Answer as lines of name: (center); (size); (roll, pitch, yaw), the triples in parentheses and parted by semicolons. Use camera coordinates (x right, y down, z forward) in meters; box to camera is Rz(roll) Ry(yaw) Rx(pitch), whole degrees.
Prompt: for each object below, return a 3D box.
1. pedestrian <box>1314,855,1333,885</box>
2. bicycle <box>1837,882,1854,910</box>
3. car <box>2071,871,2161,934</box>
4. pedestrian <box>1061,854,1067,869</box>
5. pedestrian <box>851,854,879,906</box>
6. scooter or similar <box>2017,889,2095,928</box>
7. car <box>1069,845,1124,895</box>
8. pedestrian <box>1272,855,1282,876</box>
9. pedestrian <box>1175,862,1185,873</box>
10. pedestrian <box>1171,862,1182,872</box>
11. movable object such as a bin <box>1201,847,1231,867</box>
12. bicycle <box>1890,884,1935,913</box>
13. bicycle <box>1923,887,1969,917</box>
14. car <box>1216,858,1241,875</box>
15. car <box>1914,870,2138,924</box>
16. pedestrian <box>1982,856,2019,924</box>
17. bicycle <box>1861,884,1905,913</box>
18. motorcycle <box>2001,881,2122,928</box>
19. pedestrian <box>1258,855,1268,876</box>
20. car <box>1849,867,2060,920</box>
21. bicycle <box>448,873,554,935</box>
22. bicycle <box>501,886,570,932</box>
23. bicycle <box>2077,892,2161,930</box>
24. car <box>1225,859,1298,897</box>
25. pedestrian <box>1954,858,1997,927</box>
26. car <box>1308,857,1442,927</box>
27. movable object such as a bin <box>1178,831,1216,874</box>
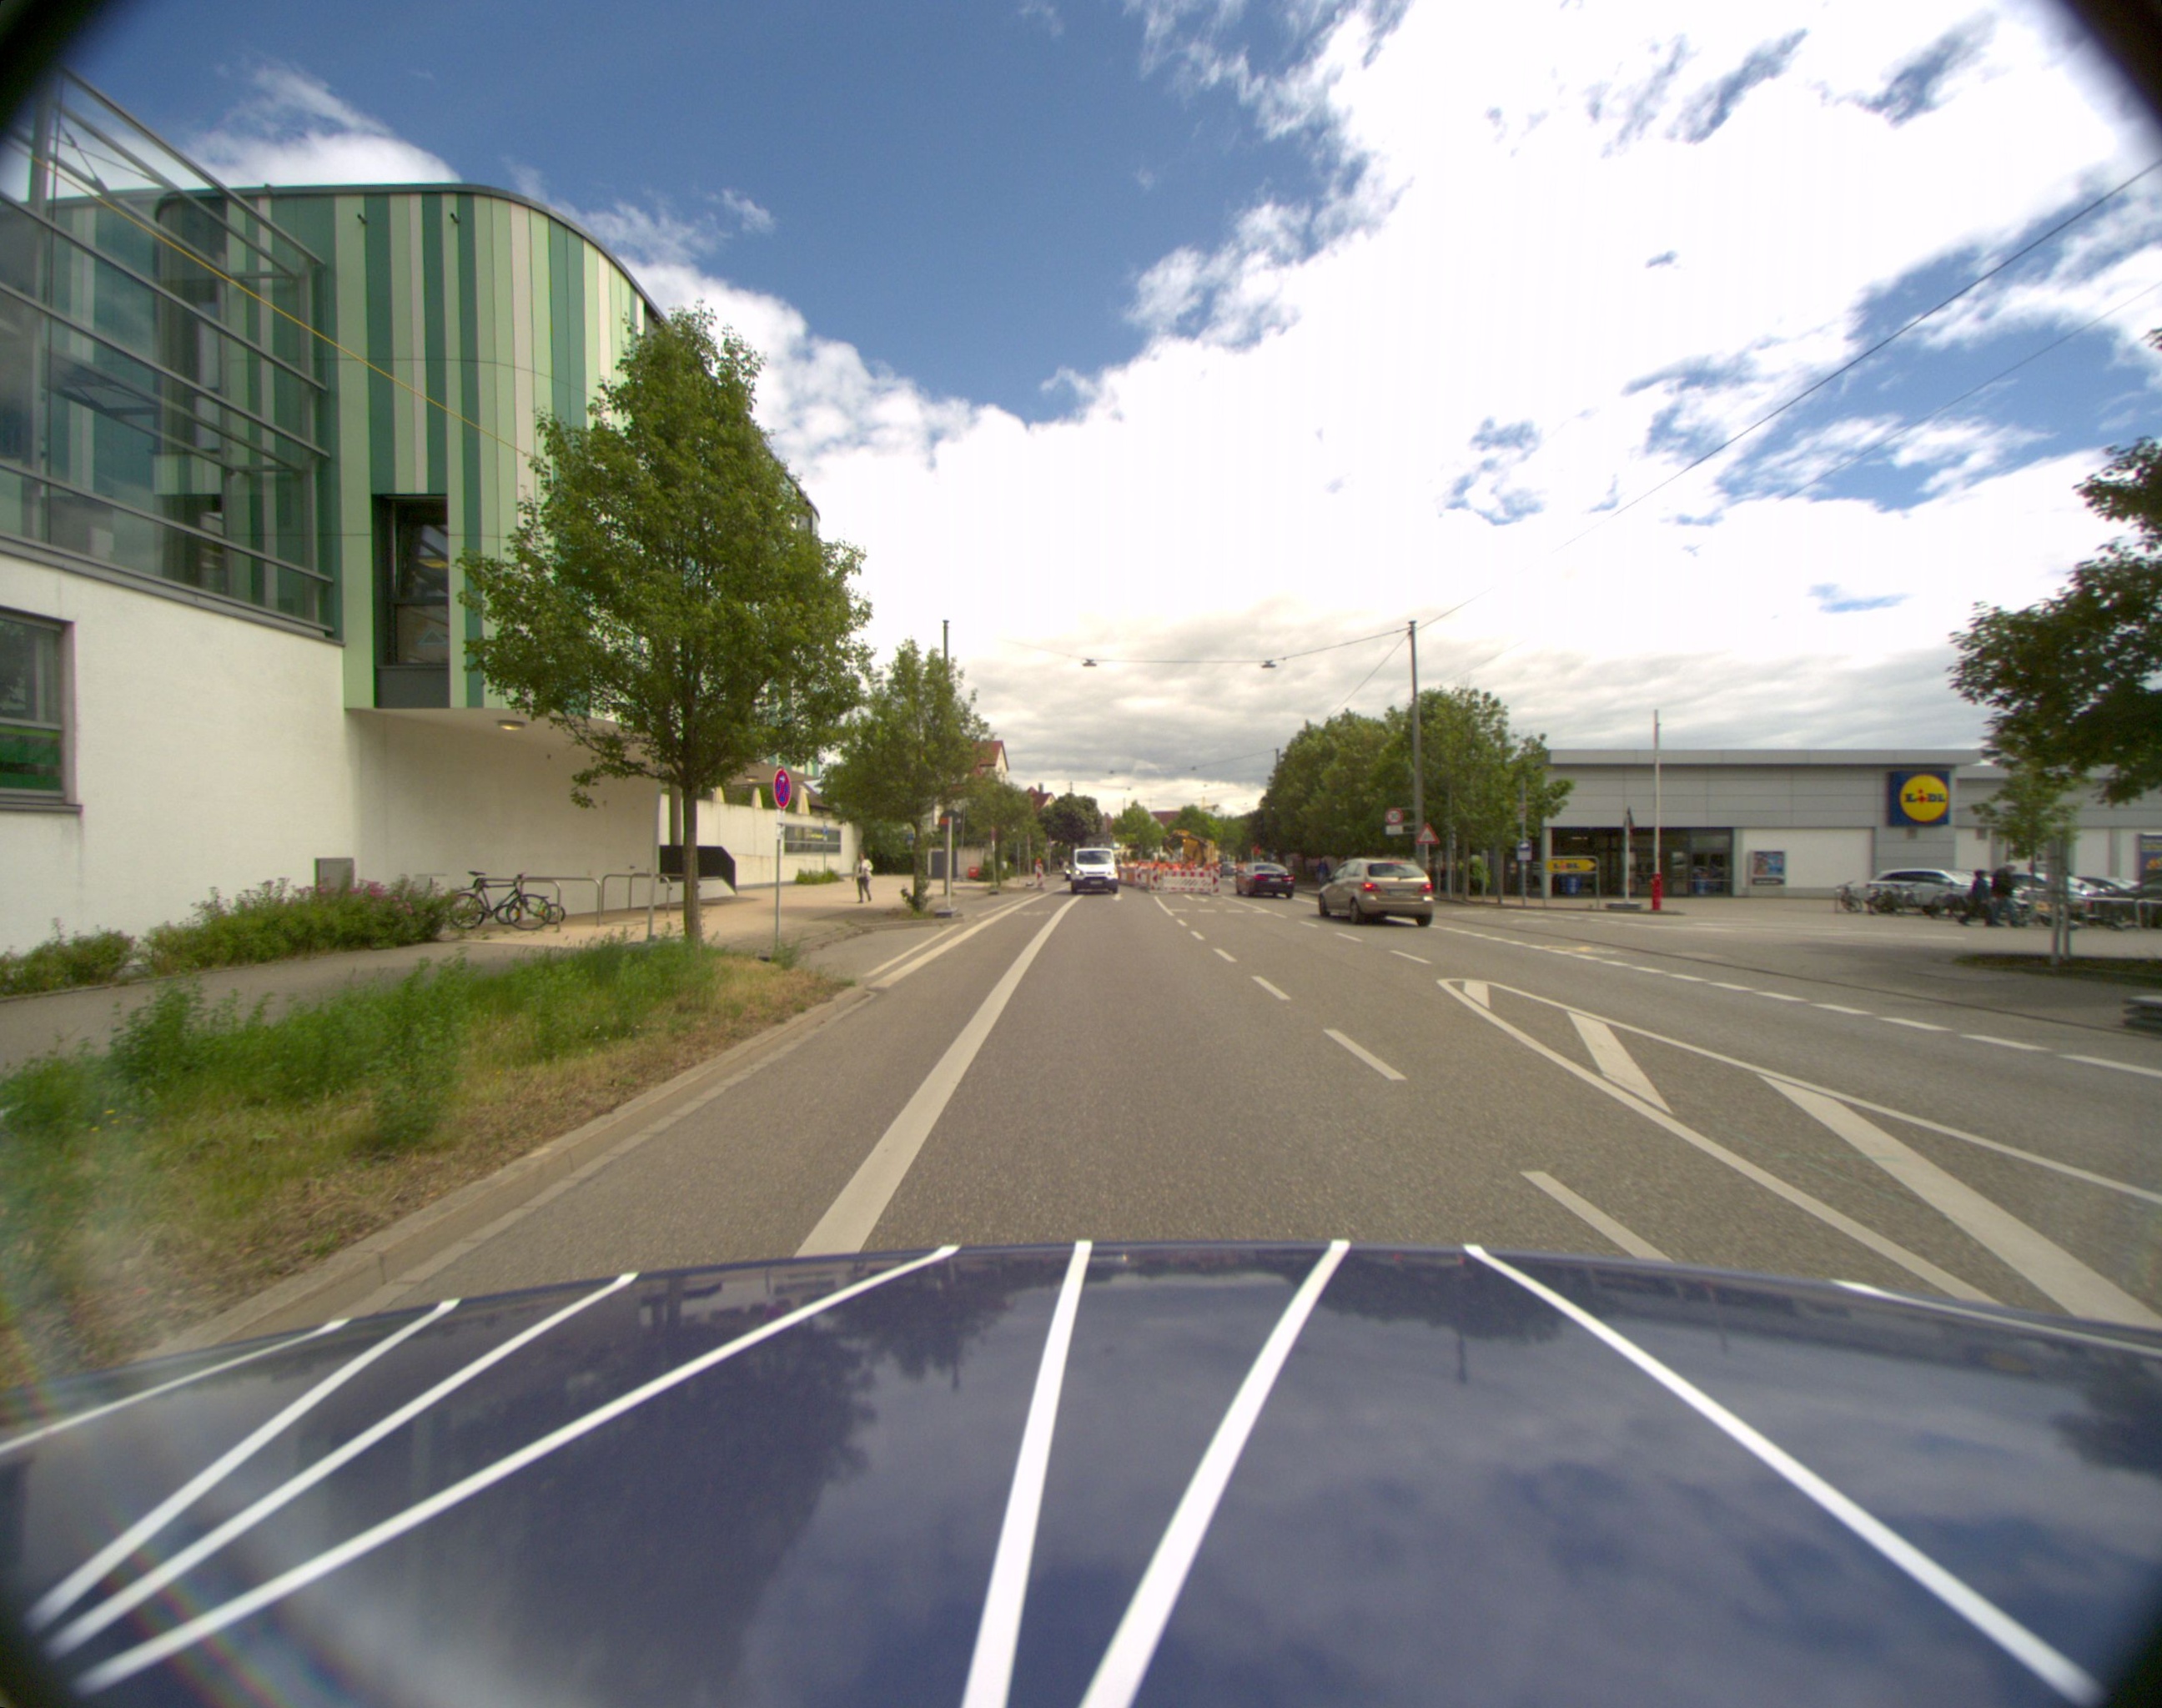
pedestrian: (12.935, 0.833, 40.535); (0.754, 1.593, 0.830); (1, 0, -1)
bicycle: (27.539, 1.500, 27.358); (1.889, 0.951, 0.348); (1, 0, -42)
car: (30.609, 1.363, 20.724); (1.998, 1.685, 4.000); (1, 0, 1)
pedestrian: (-1.744, 0.723, 78.434); (0.522, 1.531, 0.636); (1, 0, -5)
pedestrian: (-6.621, 0.777, 23.299); (0.582, 1.542, 0.869); (1, 1, 1)
scooter or similar: (25.844, 1.437, 20.148); (0.657, 0.938, 1.226); (1, 0, -36)
car: (0.581, 0.646, 33.303); (1.999, 2.002, 5.511); (-1, 0, -3)
pedestrian: (16.817, 0.987, 65.188); (0.625, 1.836, 0.624); (1, 1, 30)
pedestrian: (9.568, 1.296, 73.659); (0.641, 0.985, 0.795); (1, 0, 39)
pedestrian: (9.422, 1.283, 74.611); (0.791, 0.985, 0.813); (1, 0, 29)
movable object such as a bin: (18.771, 0.466, 105.097); (1.994, 2.610, 6.536); (1, 0, 30)
bicycle: (28.025, 1.481, 25.608); (1.887, 0.951, 0.348); (1, 0, -21)
bicycle: (28.191, 1.543, 24.749); (1.887, 0.951, 0.348); (1, 0, -21)
car: (13.845, 1.170, 71.581); (1.858, 1.504, 4.001); (1, 0, 5)
car: (32.726, 1.431, 26.582); (1.998, 1.563, 4.673); (1, 0, 0)
pedestrian: (25.408, 0.983, 20.992); (0.423, 1.848, 0.610); (1, 1, -38)
bicycle: (27.882, 1.536, 26.402); (1.887, 0.951, 0.348); (1, 0, -21)
motorcycle: (27.308, 1.383, 21.225); (0.864, 1.186, 1.950); (1, 0, -45)
pedestrian: (15.793, 0.990, 66.062); (0.695, 1.836, 0.624); (1, 1, 30)
car: (30.270, 1.307, 26.609); (1.998, 1.563, 4.673); (1, 0, 0)
bicycle: (-10.090, 0.869, 13.242); (1.470, 1.039, 0.307); (1, 0, -11)
bicycle: (-10.264, 1.023, 14.326); (1.027, 0.837, 0.306); (1, 0, -31)
bicycle: (27.322, 1.490, 19.959); (1.654, 0.951, 0.313); (1, 0, 7)
car: (7.602, 0.974, 32.447); (1.998, 1.391, 4.811); (2, 0, 1)
pedestrian: (24.584, 1.047, 20.892); (0.422, 1.848, 0.612); (1, 0, -2)
car: (7.311, 0.865, 19.373); (1.753, 1.546, 4.402); (1, 0, 1)
movable object such as a bin: (12.409, -0.102, 80.198); (2.594, 4.196, 11.135); (1, 0, 15)
